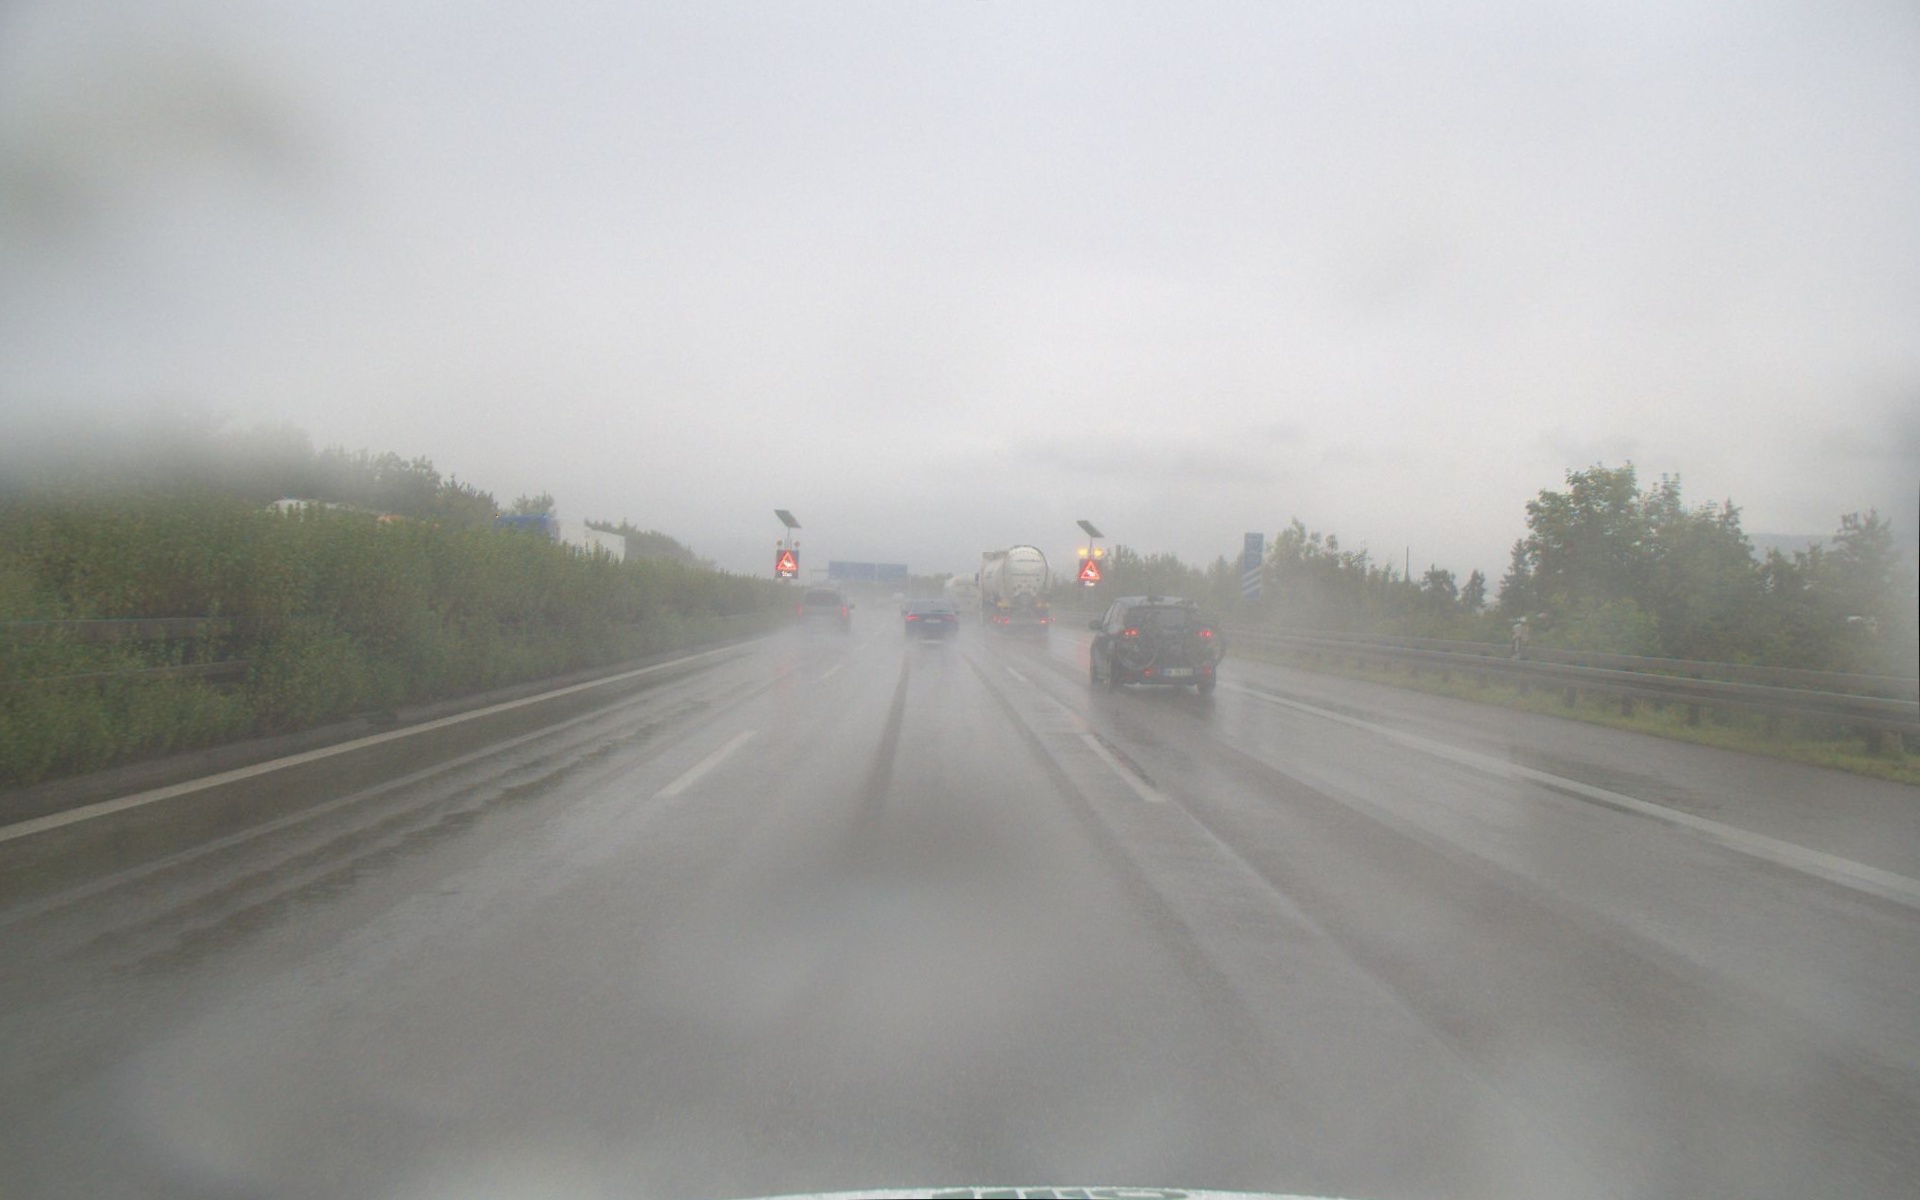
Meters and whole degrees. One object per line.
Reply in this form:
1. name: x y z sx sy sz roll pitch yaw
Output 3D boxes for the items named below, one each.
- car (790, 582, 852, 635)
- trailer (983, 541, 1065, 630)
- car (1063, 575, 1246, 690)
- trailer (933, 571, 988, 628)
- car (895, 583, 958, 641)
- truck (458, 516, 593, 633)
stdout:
1. car: -4.878 0.296 58.558 1.886 1.771 4.403 1 0 -1
2. trailer: 2.798 -0.621 76.281 3.123 3.734 11.664 1 0 -1
3. car: 3.231 0.502 28.782 2.407 1.776 5.718 1 0 -1
4. trailer: -0.028 -0.030 120.233 2.947 3.915 8.610 1 0 -7
5. car: -1.088 0.362 54.111 1.938 1.787 4.480 1 0 -1
6. truck: -18.867 -1.055 72.495 3.759 4.720 9.403 1 0 -3
